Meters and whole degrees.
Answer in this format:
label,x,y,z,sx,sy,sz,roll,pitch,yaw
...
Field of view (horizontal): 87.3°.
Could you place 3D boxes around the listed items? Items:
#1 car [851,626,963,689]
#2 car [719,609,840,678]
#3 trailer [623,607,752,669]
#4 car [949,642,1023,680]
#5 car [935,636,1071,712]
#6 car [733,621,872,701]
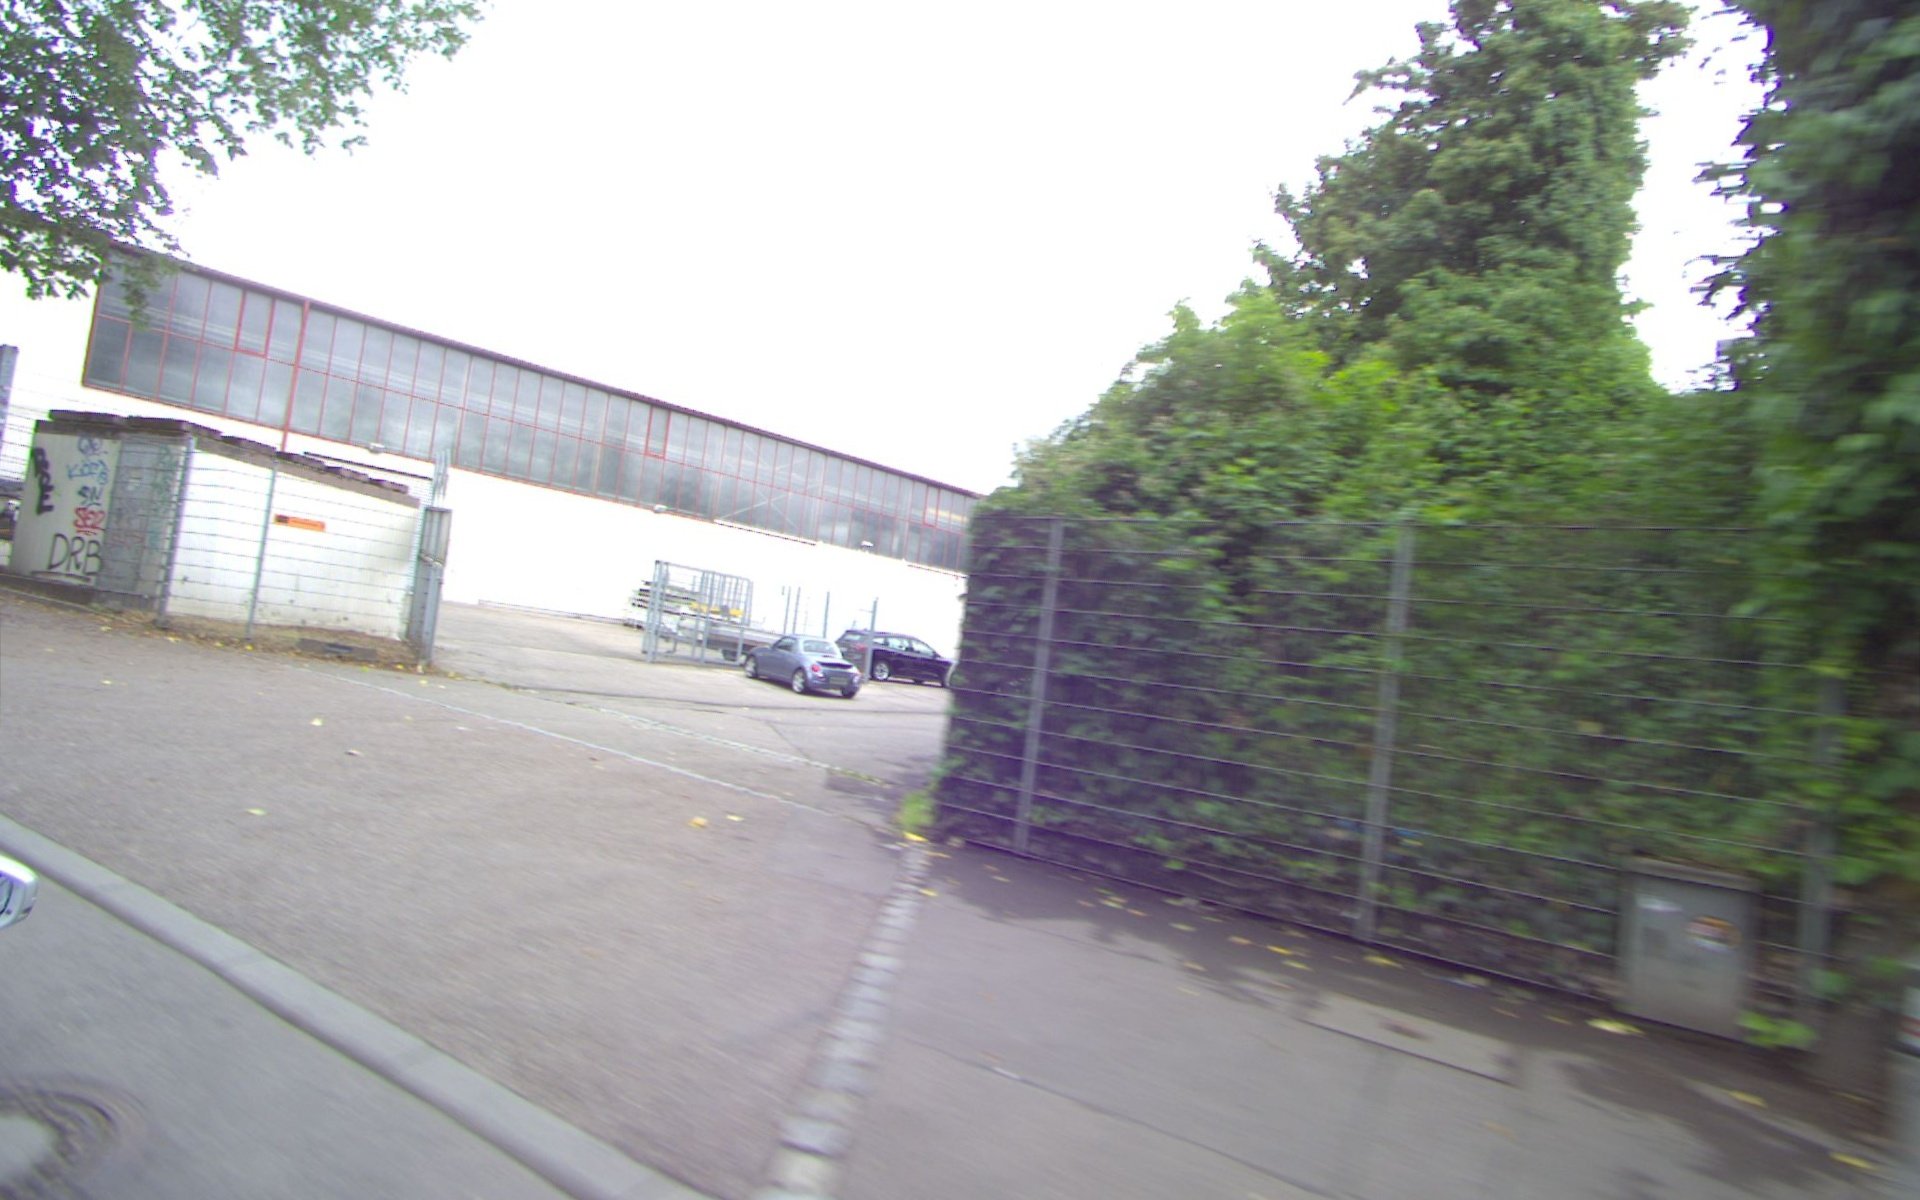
label,x,y,z,sx,sy,sz,roll,pitch,yaw
car,-1.610,1.776,30.914,3.049,1.459,1.324,10,-2,-37
car,-4.943,1.212,27.729,2.834,1.456,1.357,11,-2,-38
trailer,-7.040,0.984,26.024,2.622,1.150,1.830,11,-4,-39
car,1.189,2.768,45.184,1.320,1.222,3.296,8,-2,45
car,1.175,2.105,29.054,1.556,1.550,3.764,8,0,-43
car,-3.716,1.387,23.435,1.463,1.267,3.328,9,0,-43
